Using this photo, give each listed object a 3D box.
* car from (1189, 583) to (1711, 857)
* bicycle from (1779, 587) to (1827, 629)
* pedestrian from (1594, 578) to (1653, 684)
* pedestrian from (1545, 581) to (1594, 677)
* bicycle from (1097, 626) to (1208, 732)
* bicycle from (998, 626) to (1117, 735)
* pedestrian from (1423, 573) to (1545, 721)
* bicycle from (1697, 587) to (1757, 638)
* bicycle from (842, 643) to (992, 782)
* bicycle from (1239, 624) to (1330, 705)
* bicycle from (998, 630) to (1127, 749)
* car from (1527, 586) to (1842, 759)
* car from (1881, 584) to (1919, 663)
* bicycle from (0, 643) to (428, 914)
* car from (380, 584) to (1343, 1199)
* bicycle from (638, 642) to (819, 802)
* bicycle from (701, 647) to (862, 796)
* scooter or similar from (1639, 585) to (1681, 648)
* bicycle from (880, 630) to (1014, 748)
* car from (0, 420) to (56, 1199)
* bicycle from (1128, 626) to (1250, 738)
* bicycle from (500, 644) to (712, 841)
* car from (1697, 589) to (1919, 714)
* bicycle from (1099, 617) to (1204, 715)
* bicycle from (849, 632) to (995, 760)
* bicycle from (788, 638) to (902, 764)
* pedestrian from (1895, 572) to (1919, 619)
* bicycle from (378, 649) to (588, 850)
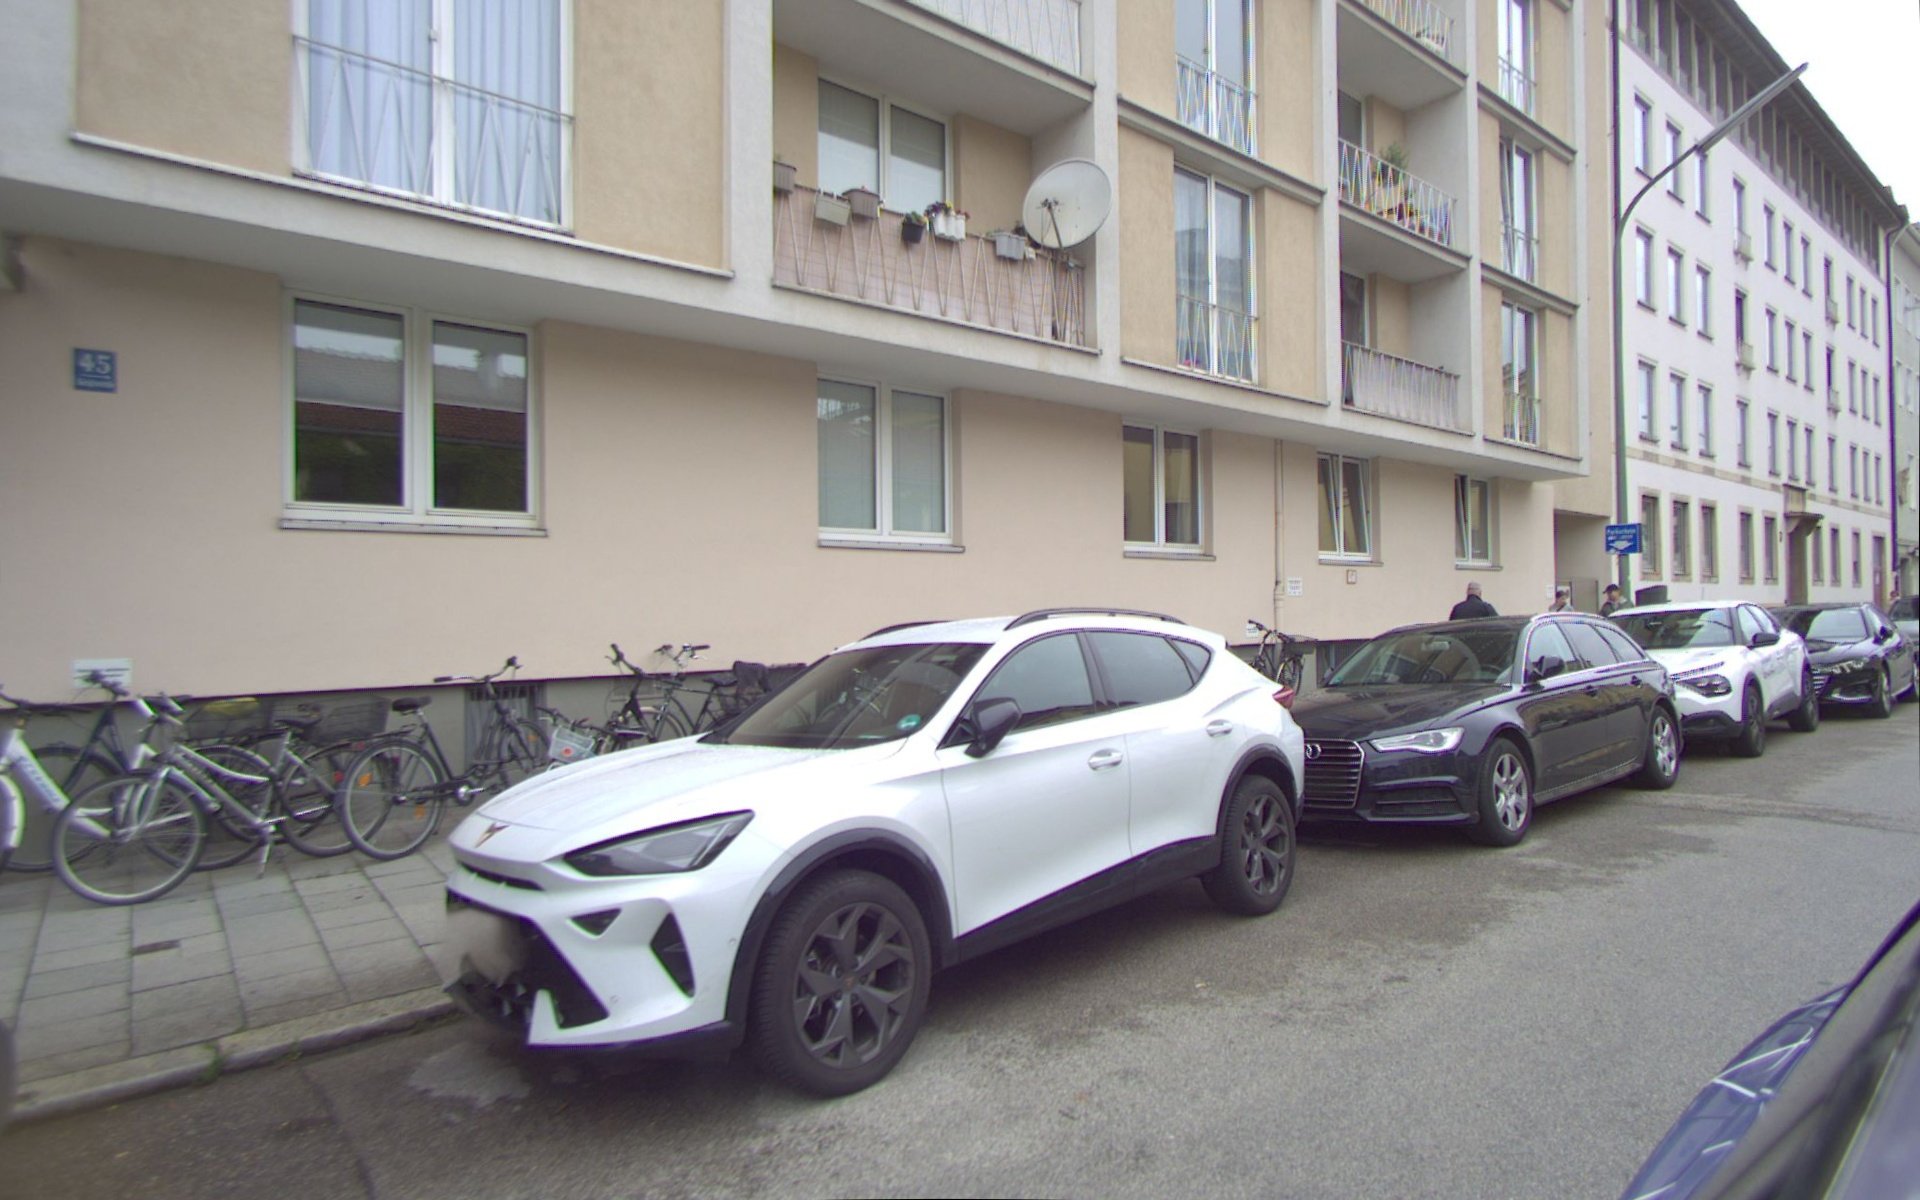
[{"bbox_3d":[3.930,0.729,7.787,4.413,1.519,1.742,-1,-5,-38],"label":"car"},{"bbox_3d":[24.167,0.213,29.012,1.991,1.140,0.661,-1,1,-38],"label":"bicycle"},{"bbox_3d":[10.866,0.482,16.569,0.619,1.674,0.598,0,2,-38],"label":"pedestrian"},{"bbox_3d":[10.582,0.488,17.581,0.550,1.604,0.533,0,2,-38],"label":"pedestrian"},{"bbox_3d":[2.109,0.826,11.006,1.376,1.036,0.391,-1,1,-39],"label":"bicycle"},{"bbox_3d":[1.055,0.827,10.785,1.376,1.036,0.391,-1,1,-39],"label":"bicycle"},{"bbox_3d":[6.420,0.525,12.397,1.296,1.709,0.900,-1,1,-40],"label":"pedestrian"},{"bbox_3d":[18.645,0.285,24.585,1.991,1.177,0.661,-1,1,-38],"label":"bicycle"},{"bbox_3d":[-0.352,0.921,8.656,1.278,1.036,0.424,-1,1,-39],"label":"bicycle"},{"bbox_3d":[4.238,0.818,13.197,1.376,0.947,0.445,-1,1,-39],"label":"bicycle"},{"bbox_3d":[1.024,0.844,9.917,1.376,1.036,0.391,-1,1,-39],"label":"bicycle"},{"bbox_3d":[7.987,0.673,11.018,4.144,1.519,1.742,-1,-3,-40],"label":"car"},{"bbox_3d":[20.608,0.430,20.883,3.810,1.555,1.675,0,-3,-38],"label":"car"},{"bbox_3d":[-4.440,0.919,5.903,2.168,1.201,1.148,-1,0,-41],"label":"bicycle"},{"bbox_3d":[-0.077,0.791,4.672,4.203,1.557,1.739,-1,-3,-44],"label":"car"},{"bbox_3d":[-1.889,0.956,8.372,1.385,1.147,0.533,0,0,-42],"label":"bicycle"},{"bbox_3d":[-1.396,0.919,7.951,1.174,1.036,0.425,-1,1,-32],"label":"bicycle"},{"bbox_3d":[15.213,0.342,21.991,0.599,1.267,1.023,1,5,43],"label":"scooter or similar"},{"bbox_3d":[-0.107,0.844,9.960,1.376,1.036,0.391,-1,1,-39],"label":"bicycle"},{"bbox_3d":[-4.179,0.677,1.014,4.852,1.840,1.966,-1,-3,-42],"label":"car"},{"bbox_3d":[2.411,0.826,10.594,1.376,1.036,0.484,-1,1,-39],"label":"bicycle"},{"bbox_3d":[-2.408,0.915,7.054,0.709,1.147,1.423,-1,0,16],"label":"bicycle"},{"bbox_3d":[11.865,0.628,13.841,4.403,1.439,1.798,-1,-3,-40],"label":"car"},{"bbox_3d":[2.221,0.735,11.688,1.376,1.036,0.391,-1,1,-39],"label":"bicycle"},{"bbox_3d":[-0.326,0.843,9.263,1.376,1.036,0.391,-1,1,-39],"label":"bicycle"},{"bbox_3d":[-1.038,0.891,9.212,0.984,1.036,0.374,-1,1,-39],"label":"bicycle"},{"bbox_3d":[33.733,-0.155,35.862,0.813,1.646,0.736,0,1,-37],"label":"pedestrian"},{"bbox_3d":[-3.225,0.953,6.970,0.527,1.147,1.402,0,0,16],"label":"bicycle"}]
